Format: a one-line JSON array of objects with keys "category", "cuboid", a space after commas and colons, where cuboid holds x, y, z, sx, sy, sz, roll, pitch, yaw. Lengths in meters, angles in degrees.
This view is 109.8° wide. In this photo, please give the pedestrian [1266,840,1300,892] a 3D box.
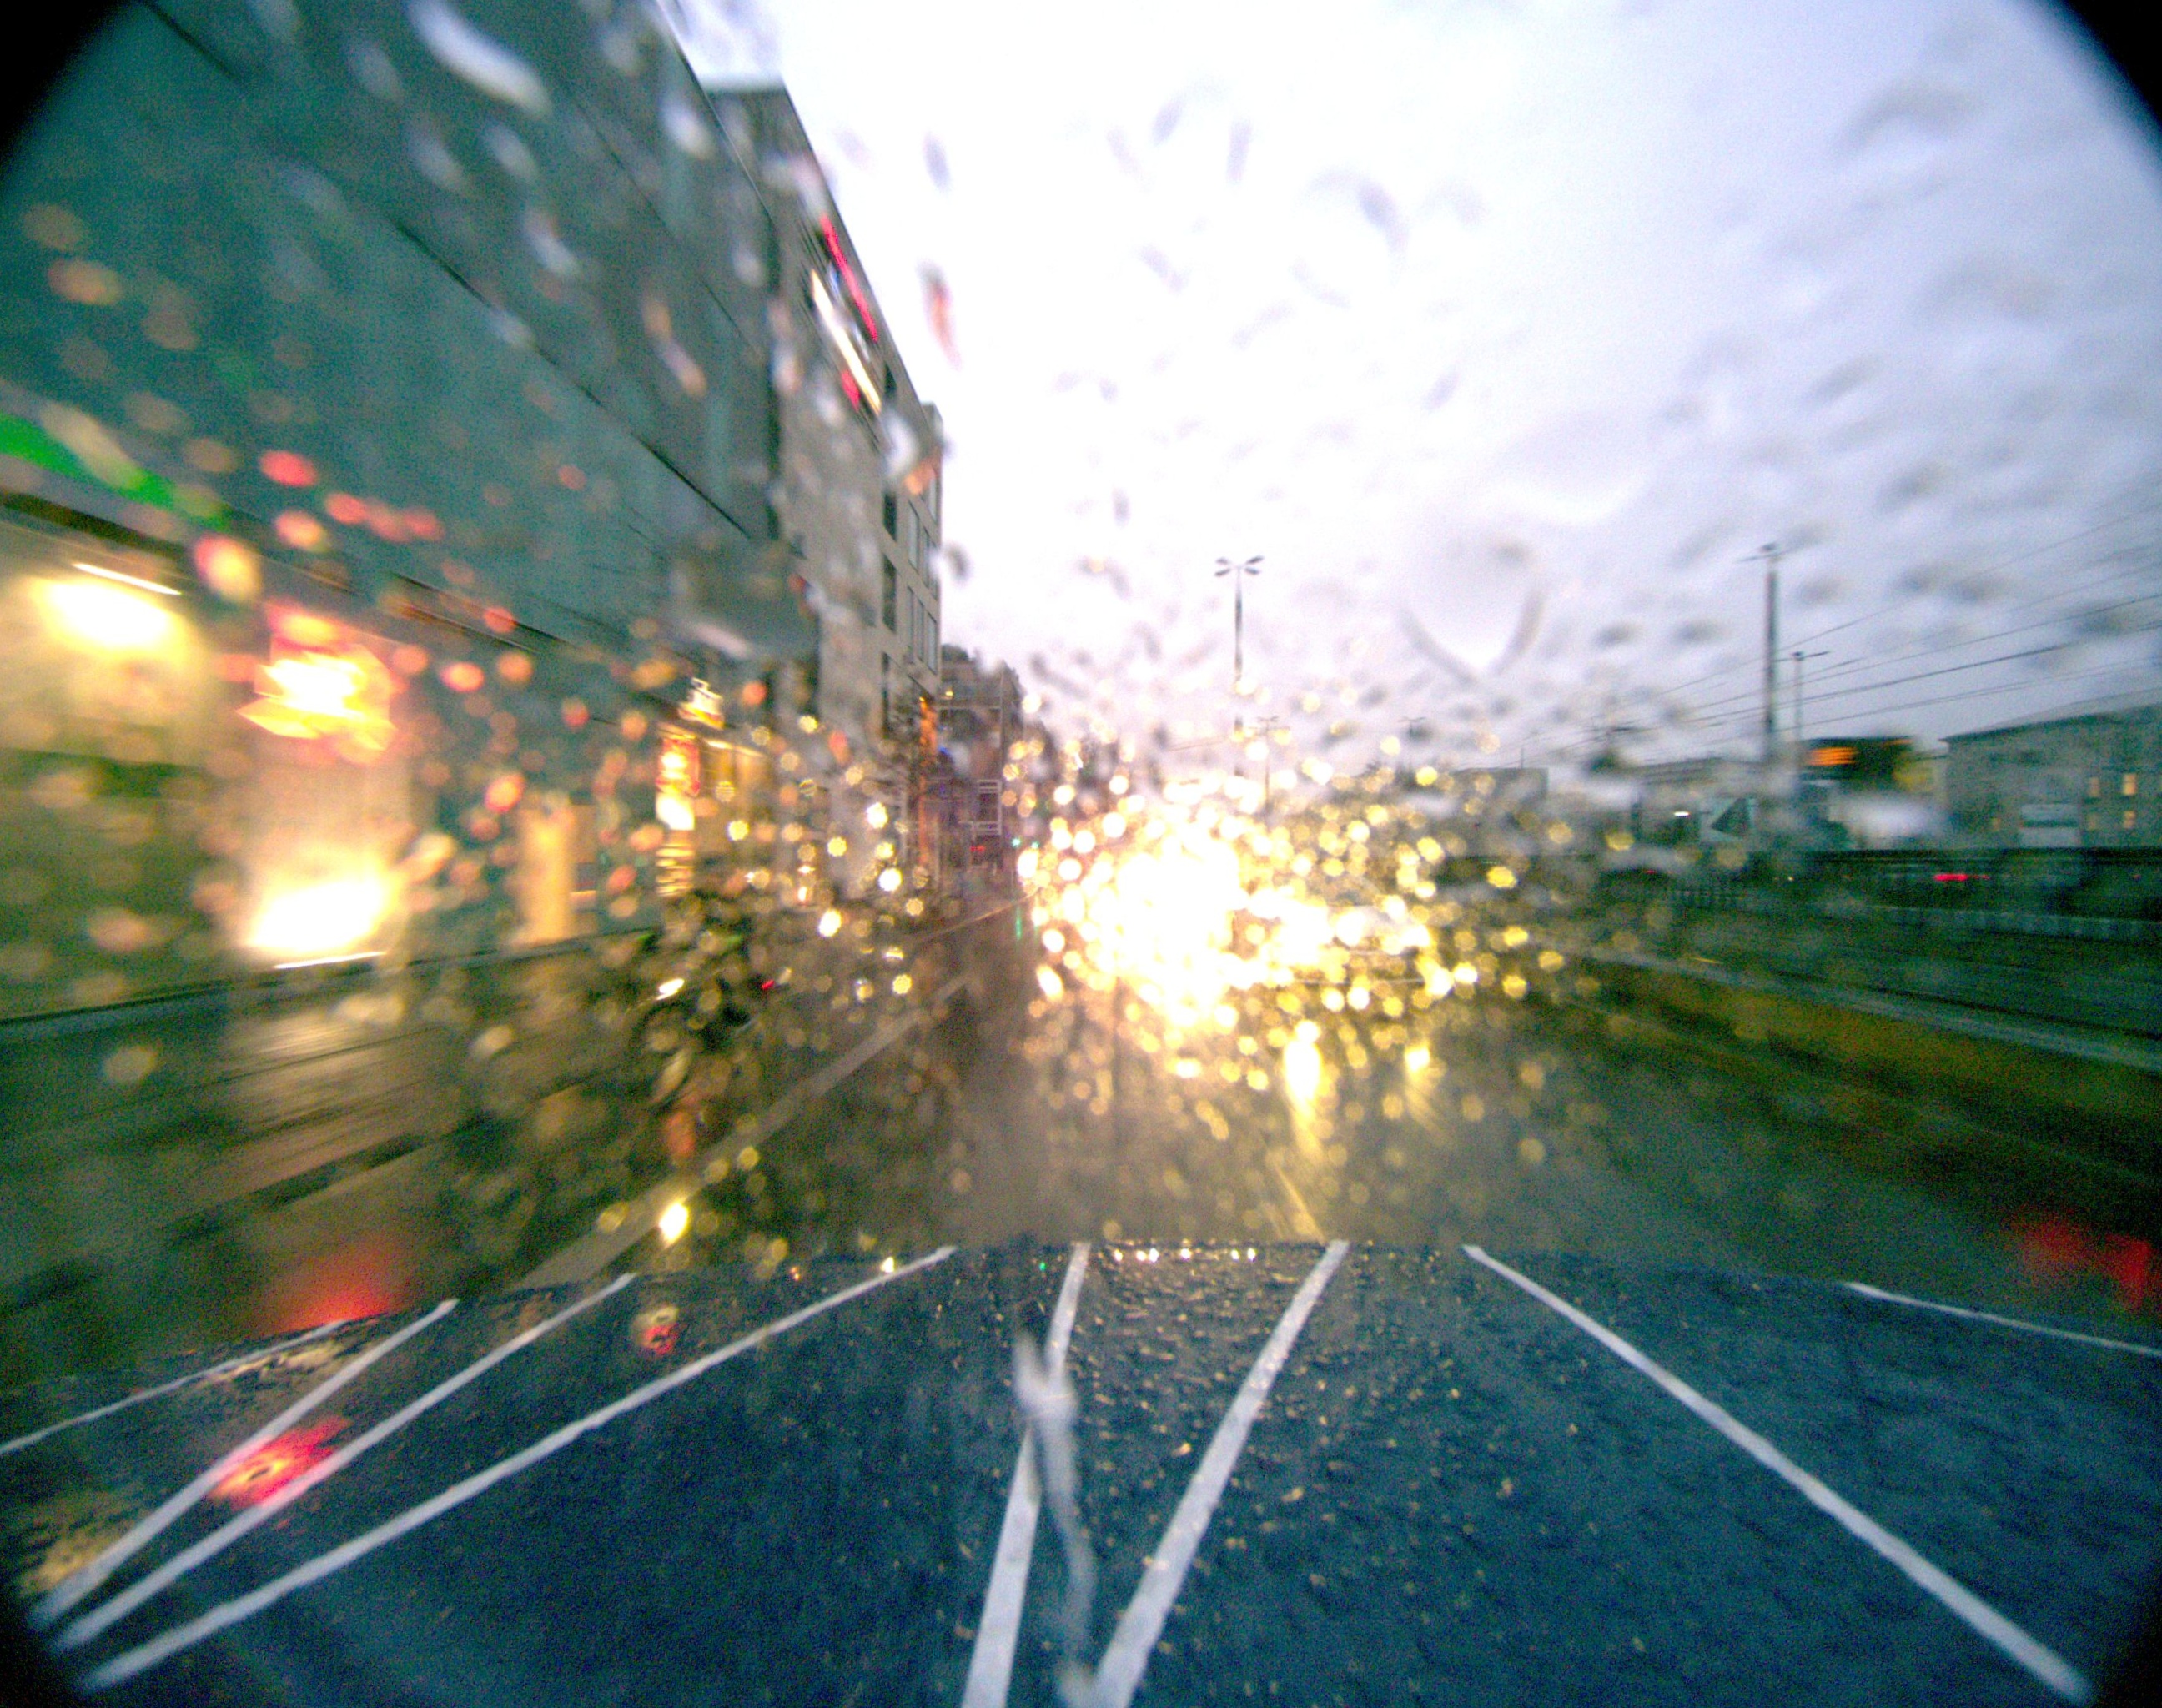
[{"category": "pedestrian", "cuboid": [8.853, 0.519, 33.360, 1.054, 2.195, 0.956, -1, 0, -24]}]

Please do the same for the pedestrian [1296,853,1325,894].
[{"category": "pedestrian", "cuboid": [9.779, 0.803, 32.372, 0.862, 1.704, 0.763, -1, 0, -24]}]

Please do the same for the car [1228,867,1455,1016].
[{"category": "car", "cuboid": [3.091, 0.949, 9.941, 1.813, 1.464, 4.140, -1, 0, 4]}]

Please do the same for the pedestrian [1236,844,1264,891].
[{"category": "pedestrian", "cuboid": [7.860, 0.620, 35.347, 0.906, 2.133, 1.017, -1, 0, -9]}]

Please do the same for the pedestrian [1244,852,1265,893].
[{"category": "pedestrian", "cuboid": [7.378, 0.766, 32.354, 0.665, 1.725, 0.606, 0, 2, 39]}]

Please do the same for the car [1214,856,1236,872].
[{"category": "car", "cuboid": [14.880, 1.063, 78.782, 1.799, 1.520, 3.930, -2, -1, 4]}]

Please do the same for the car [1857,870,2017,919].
[{"category": "car", "cuboid": [36.389, 1.648, 32.498, 1.878, 1.862, 4.385, -1, 0, -1]}]

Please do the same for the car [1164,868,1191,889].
[{"category": "car", "cuboid": [7.921, 1.979, 62.381, 1.867, 1.652, 3.987, -1, 0, 3]}]

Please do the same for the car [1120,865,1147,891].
[{"category": "car", "cuboid": [4.182, 1.902, 61.016, 1.998, 2.002, 4.001, -1, 0, 3]}]

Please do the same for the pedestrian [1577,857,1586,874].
[{"category": "pedestrian", "cuboid": [49.468, 1.126, 75.150, 0.655, 1.655, 0.743, 0, 0, 39]}]

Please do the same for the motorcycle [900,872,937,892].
[{"category": "motorcycle", "cuboid": [-7.473, 1.273, 34.943, 1.636, 0.884, 0.395, -1, 0, 4]}]

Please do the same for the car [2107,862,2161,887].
[{"category": "car", "cuboid": [57.778, 1.079, 41.038, 3.160, 1.267, 1.449, -1, 0, -7]}]

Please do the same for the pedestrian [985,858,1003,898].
[{"category": "pedestrian", "cuboid": [-3.687, 1.002, 32.096, 0.707, 1.684, 0.723, 1, 0, -9]}]

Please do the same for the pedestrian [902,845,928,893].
[{"category": "pedestrian", "cuboid": [-7.501, 0.667, 34.318, 0.965, 2.149, 0.581, -1, 0, 14]}]

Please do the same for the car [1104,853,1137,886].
[{"category": "car", "cuboid": [2.379, 0.925, 45.688, 1.864, 1.866, 4.001, -1, 0, 4]}]

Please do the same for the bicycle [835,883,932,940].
[{"category": "bicycle", "cuboid": [-4.311, 1.243, 16.659, 1.908, 1.168, 0.667, 1, 0, 2]}]

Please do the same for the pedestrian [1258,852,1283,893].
[{"category": "pedestrian", "cuboid": [7.924, 0.770, 31.836, 0.655, 1.708, 0.749, -1, 0, -24]}]

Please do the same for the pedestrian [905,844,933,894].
[{"category": "pedestrian", "cuboid": [-7.133, 0.648, 33.516, 0.960, 2.179, 0.712, 0, 0, 14]}]

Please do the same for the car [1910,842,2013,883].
[{"category": "car", "cuboid": [60.121, 0.572, 51.954, 4.434, 2.695, 2.001, -1, 0, 7]}]

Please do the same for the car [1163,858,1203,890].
[{"category": "car", "cuboid": [5.708, 1.078, 42.883, 1.998, 1.673, 4.001, -1, 0, 4]}]

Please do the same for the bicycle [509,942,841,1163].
[{"category": "bicycle", "cuboid": [-2.683, 1.258, 5.456, 0.945, 0.993, 2.242, -1, 0, 8]}]

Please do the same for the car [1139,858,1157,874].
[{"category": "car", "cuboid": [7.397, 1.297, 84.211, 1.867, 1.652, 3.987, -1, 0, 3]}]

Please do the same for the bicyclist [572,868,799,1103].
[{"category": "bicyclist", "cuboid": [-2.711, 0.843, 5.348, 0.945, 1.454, 1.067, -1, 0, 8]}]

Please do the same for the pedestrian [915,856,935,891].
[{"category": "pedestrian", "cuboid": [-7.253, 0.900, 35.266, 0.779, 1.598, 0.501, -1, 0, 3]}]

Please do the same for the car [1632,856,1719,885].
[{"category": "car", "cuboid": [35.863, 0.965, 45.955, 1.878, 1.606, 4.232, -1, 0, -1]}]
